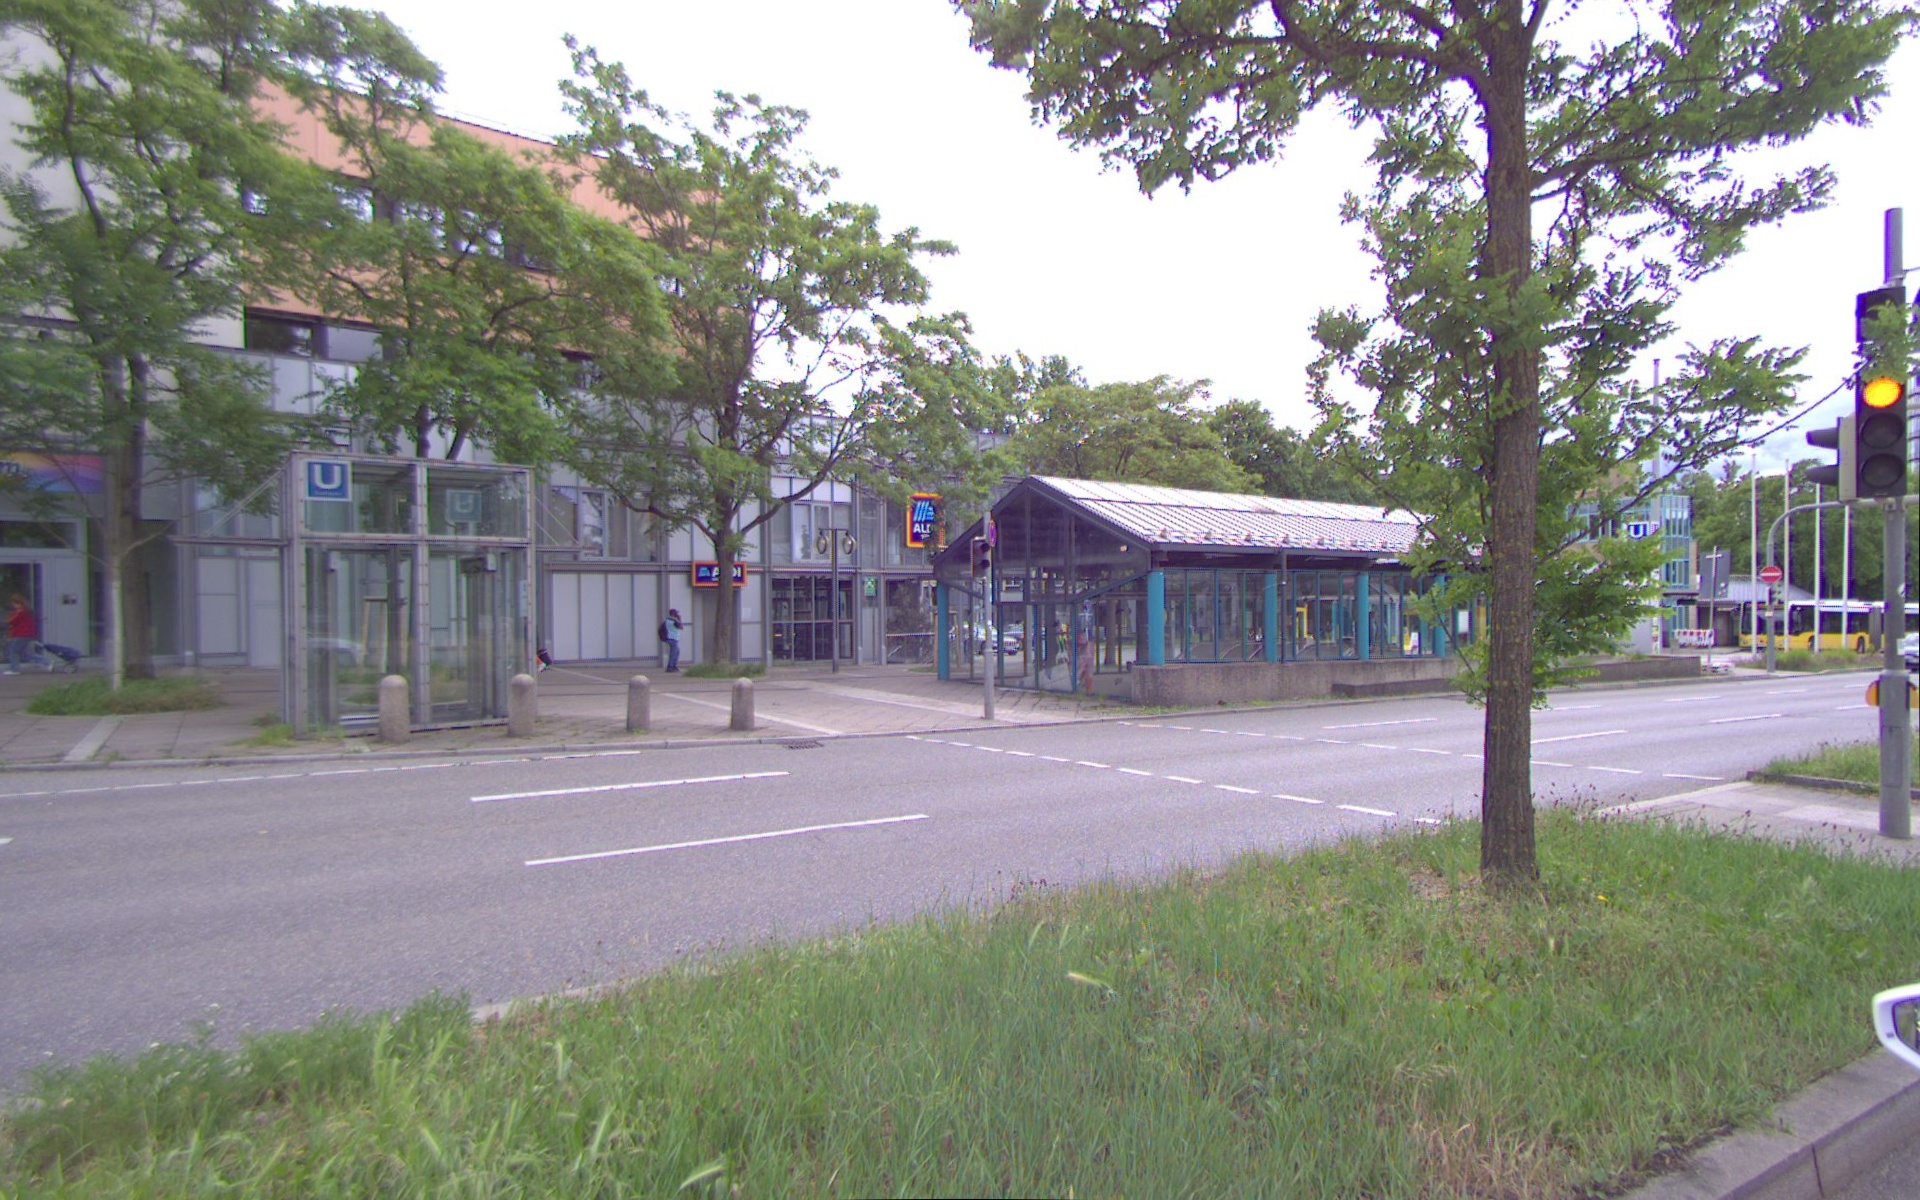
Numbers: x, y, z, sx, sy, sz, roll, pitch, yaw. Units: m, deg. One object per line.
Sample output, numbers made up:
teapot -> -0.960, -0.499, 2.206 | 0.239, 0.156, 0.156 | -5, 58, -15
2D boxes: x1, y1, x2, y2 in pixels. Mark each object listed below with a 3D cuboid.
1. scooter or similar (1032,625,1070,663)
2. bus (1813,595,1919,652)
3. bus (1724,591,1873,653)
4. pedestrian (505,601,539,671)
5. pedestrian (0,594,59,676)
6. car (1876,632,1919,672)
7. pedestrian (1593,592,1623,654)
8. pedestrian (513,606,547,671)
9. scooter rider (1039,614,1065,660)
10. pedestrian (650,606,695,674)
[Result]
scooter or similar -> 3.176, 1.532, 35.066 | 1.276, 1.284, 0.476 | 1, 2, -37
bus -> 59.257, 1.543, 64.541 | 10.592, 3.476, 2.822 | 1, -1, -26
bus -> 50.150, 1.342, 59.974 | 10.592, 3.476, 2.822 | 1, -1, -26
pedestrian -> -11.262, 0.914, 25.805 | 0.674, 1.750, 0.560 | 1, -1, -39
pedestrian -> -18.657, 0.695, 20.158 | 0.819, 1.607, 0.629 | 1, -1, -40
car -> 37.854, 2.009, 39.319 | 3.955, 1.505, 1.983 | 1, -1, -32
pedestrian -> 21.715, 0.766, 33.660 | 0.639, 2.040, 0.677 | 1, -1, -34
pedestrian -> -10.857, 0.953, 25.349 | 0.674, 1.610, 0.513 | 1, -1, -39
scooter rider -> 3.221, 1.284, 35.097 | 0.700, 1.566, 0.521 | 1, 2, -37
pedestrian -> -7.644, 1.046, 26.692 | 0.879, 1.739, 0.764 | 1, 2, -39
